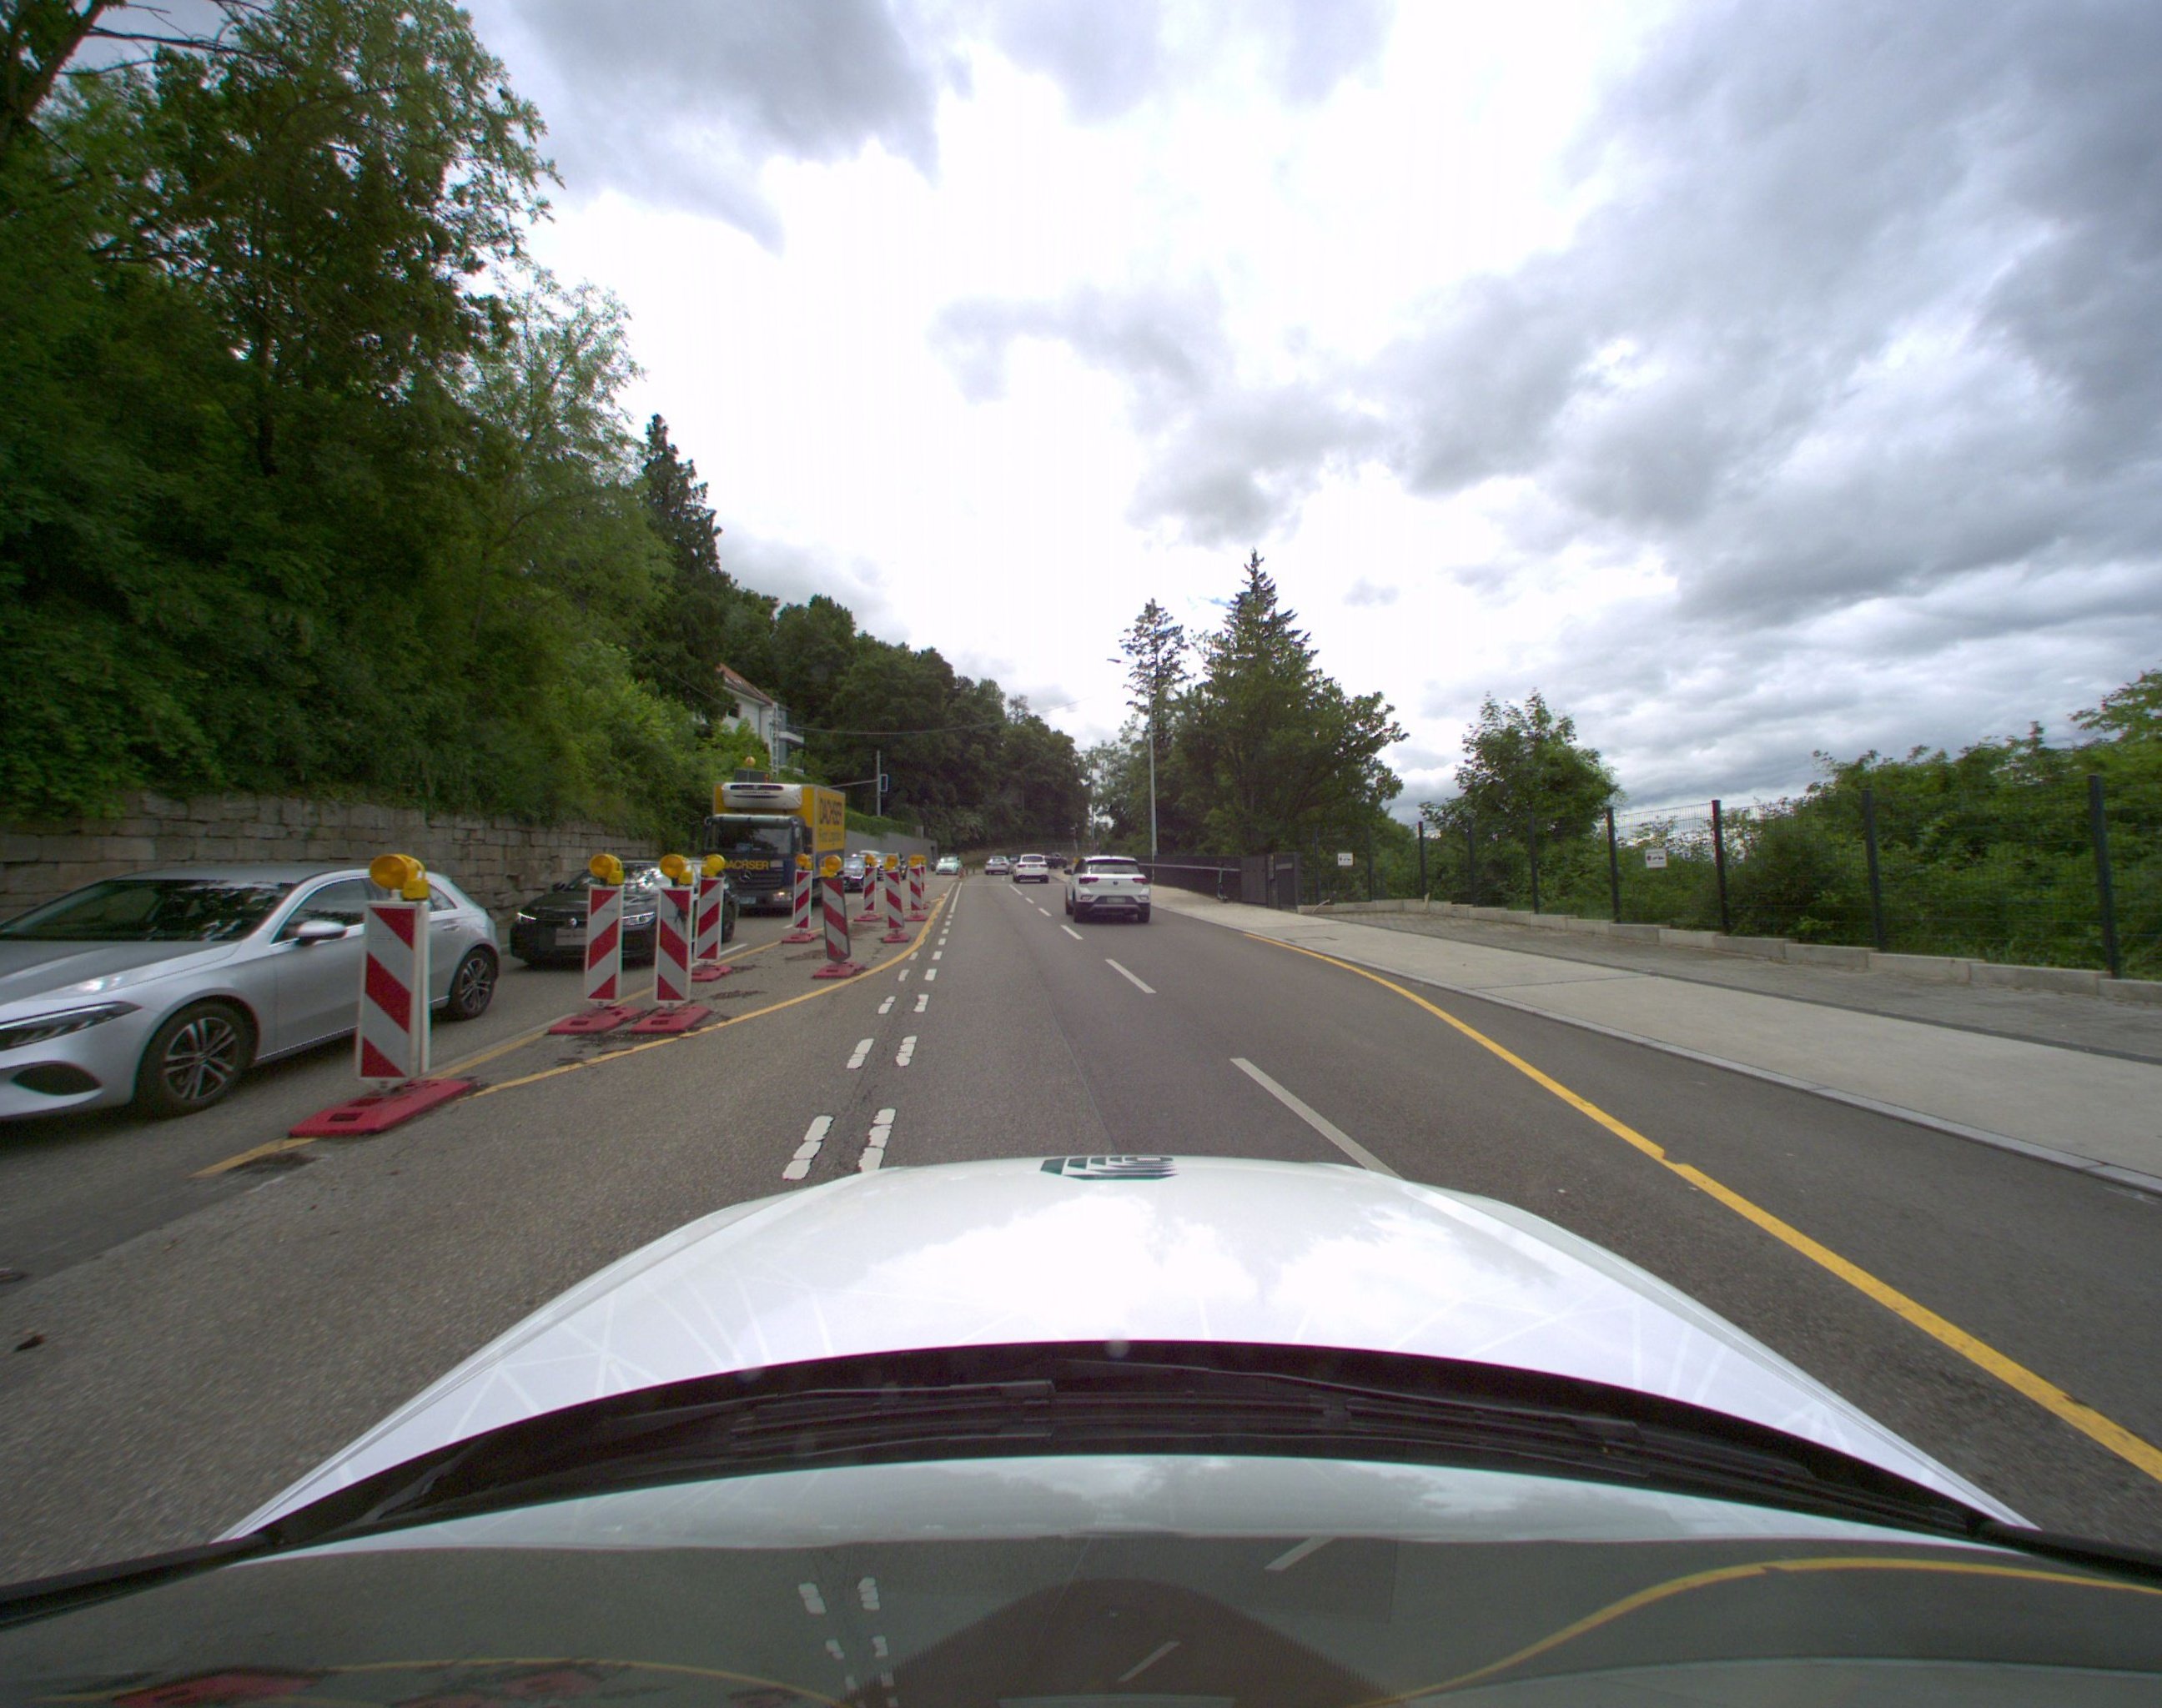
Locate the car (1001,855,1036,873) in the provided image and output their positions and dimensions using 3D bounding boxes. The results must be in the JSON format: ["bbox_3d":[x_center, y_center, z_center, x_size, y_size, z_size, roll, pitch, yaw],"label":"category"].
[{"bbox_3d":[-5.700,0.897,74.787,1.980,1.541,4.024,1,-1,13],"label":"car"}]

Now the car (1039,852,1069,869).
[{"bbox_3d":[-2.762,0.673,84.475,1.801,1.689,4.019,1,-1,19],"label":"car"}]

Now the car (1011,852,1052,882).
[{"bbox_3d":[-2.854,0.719,46.579,1.992,1.586,3.989,1,-1,-8],"label":"car"}]

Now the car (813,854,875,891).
[{"bbox_3d":[-9.980,0.752,34.616,1.808,1.430,4.862,1,0,-7],"label":"car"}]

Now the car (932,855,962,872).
[{"bbox_3d":[-11.960,0.832,72.941,1.703,1.466,3.666,1,0,5],"label":"car"}]

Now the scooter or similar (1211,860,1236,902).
[{"bbox_3d":[4.477,0.837,25.657,0.533,1.226,1.206,-2,1,-1],"label":"scooter or similar"}]

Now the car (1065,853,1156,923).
[{"bbox_3d":[0.621,0.761,19.975,1.863,1.536,3.798,0,0,-4],"label":"car"}]

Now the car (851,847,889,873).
[{"bbox_3d":[-15.444,0.423,59.814,1.856,1.731,4.752,2,0,-5],"label":"car"}]

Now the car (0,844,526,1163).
[{"bbox_3d":[-6.184,0.713,5.906,1.790,1.507,4.299,1,-1,-8],"label":"car"}]

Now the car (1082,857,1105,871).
[{"bbox_3d":[1.559,1.258,99.549,1.801,1.689,4.018,1,-1,17],"label":"car"}]

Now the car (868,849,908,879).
[{"bbox_3d":[-11.519,0.589,48.900,1.882,1.697,4.659,0,0,-8],"label":"car"}]

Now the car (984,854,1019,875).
[{"bbox_3d":[-6.342,0.839,65.153,1.896,1.574,4.007,1,-1,7],"label":"car"}]

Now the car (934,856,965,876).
[{"bbox_3d":[-10.207,0.877,63.274,1.705,1.466,3.661,1,0,1],"label":"car"}]

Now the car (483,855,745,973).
[{"bbox_3d":[-6.782,0.767,12.520,1.769,1.441,4.733,1,-1,-8],"label":"car"}]

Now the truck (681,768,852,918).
[{"bbox_3d":[-8.429,-0.233,22.871,2.728,3.510,7.332,0,0,-7],"label":"truck"}]
